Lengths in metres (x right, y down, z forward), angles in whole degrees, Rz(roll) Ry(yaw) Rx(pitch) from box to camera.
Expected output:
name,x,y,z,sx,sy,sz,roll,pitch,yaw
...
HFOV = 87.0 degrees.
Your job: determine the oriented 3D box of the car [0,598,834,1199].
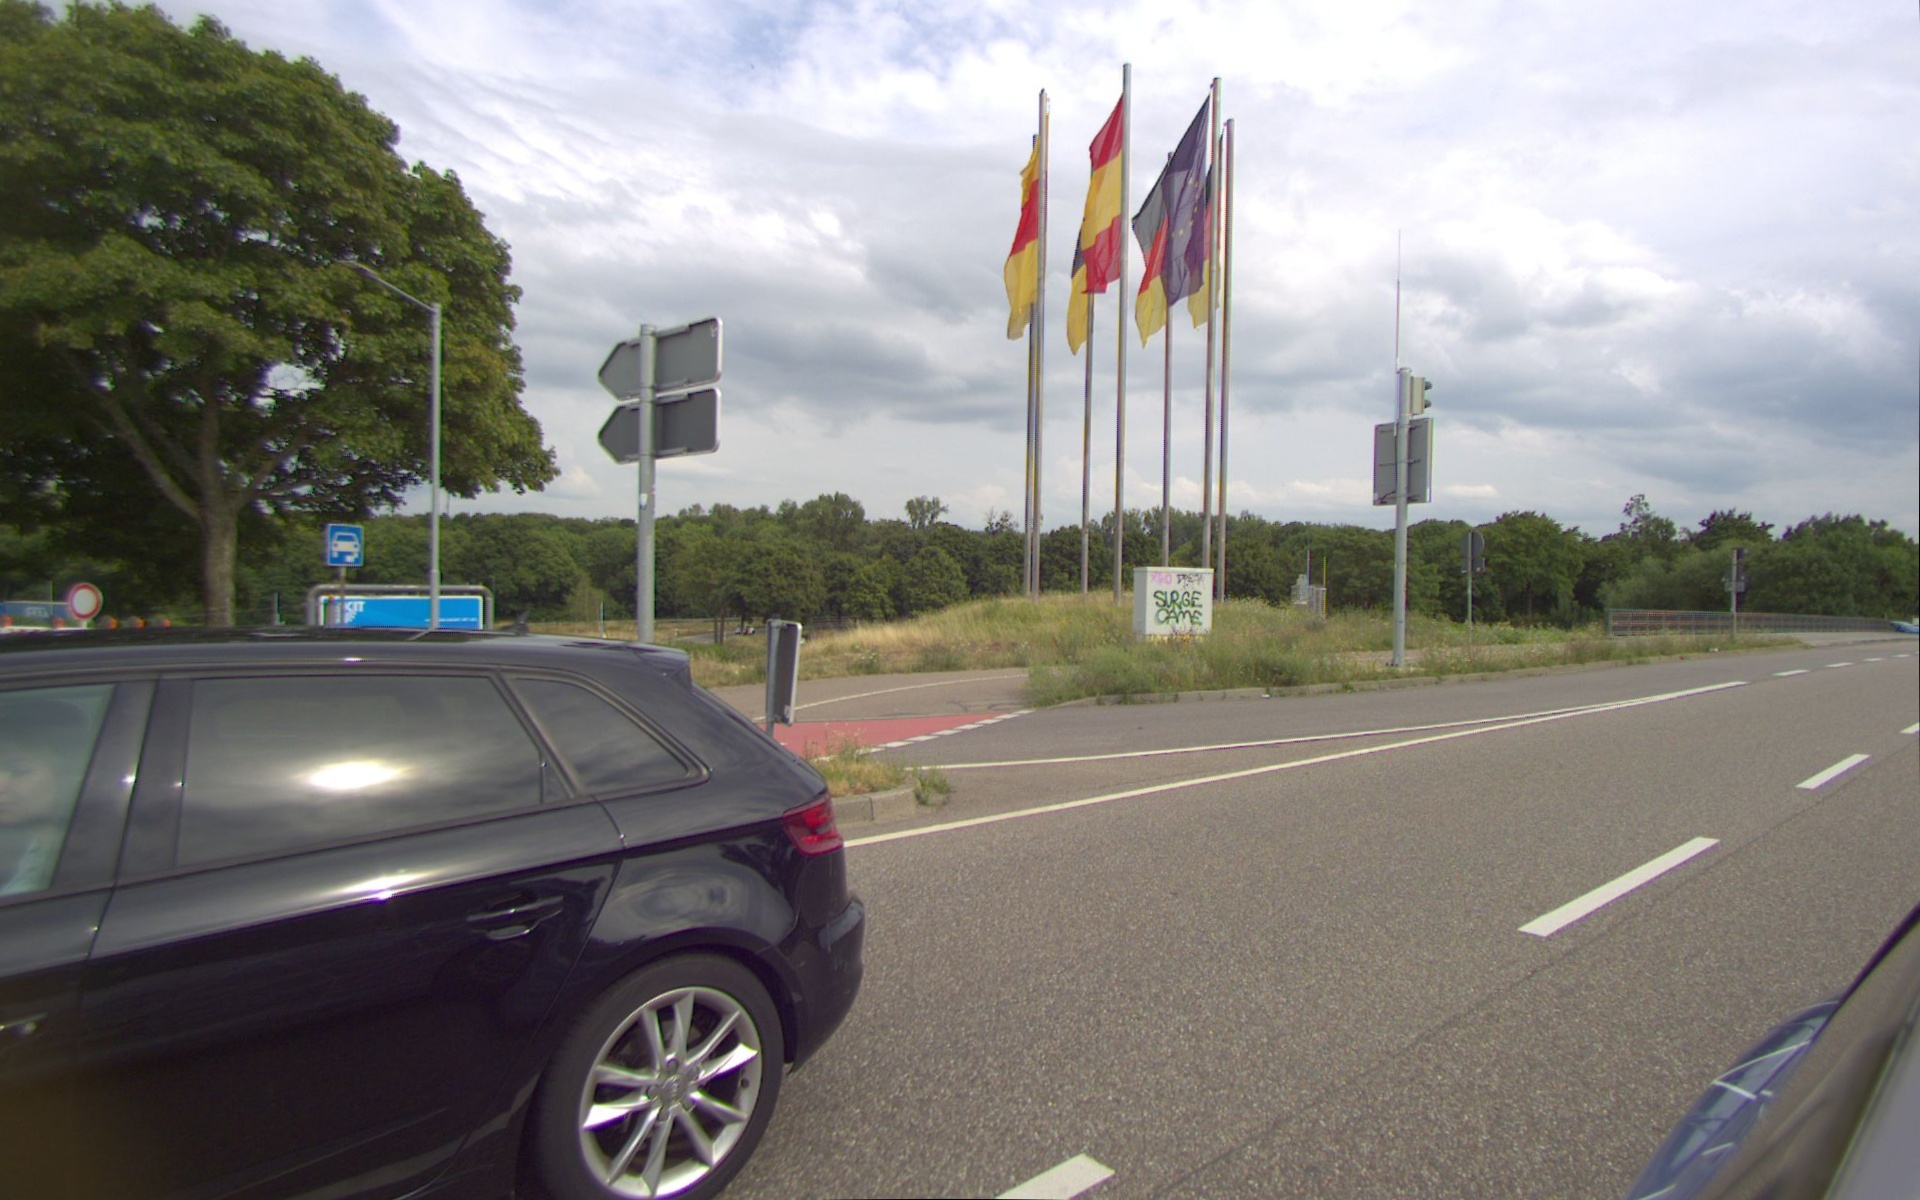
name,x,y,z,sx,sy,sz,roll,pitch,yaw
car,-2.412,0.710,1.977,4.043,1.412,1.733,0,0,-41
